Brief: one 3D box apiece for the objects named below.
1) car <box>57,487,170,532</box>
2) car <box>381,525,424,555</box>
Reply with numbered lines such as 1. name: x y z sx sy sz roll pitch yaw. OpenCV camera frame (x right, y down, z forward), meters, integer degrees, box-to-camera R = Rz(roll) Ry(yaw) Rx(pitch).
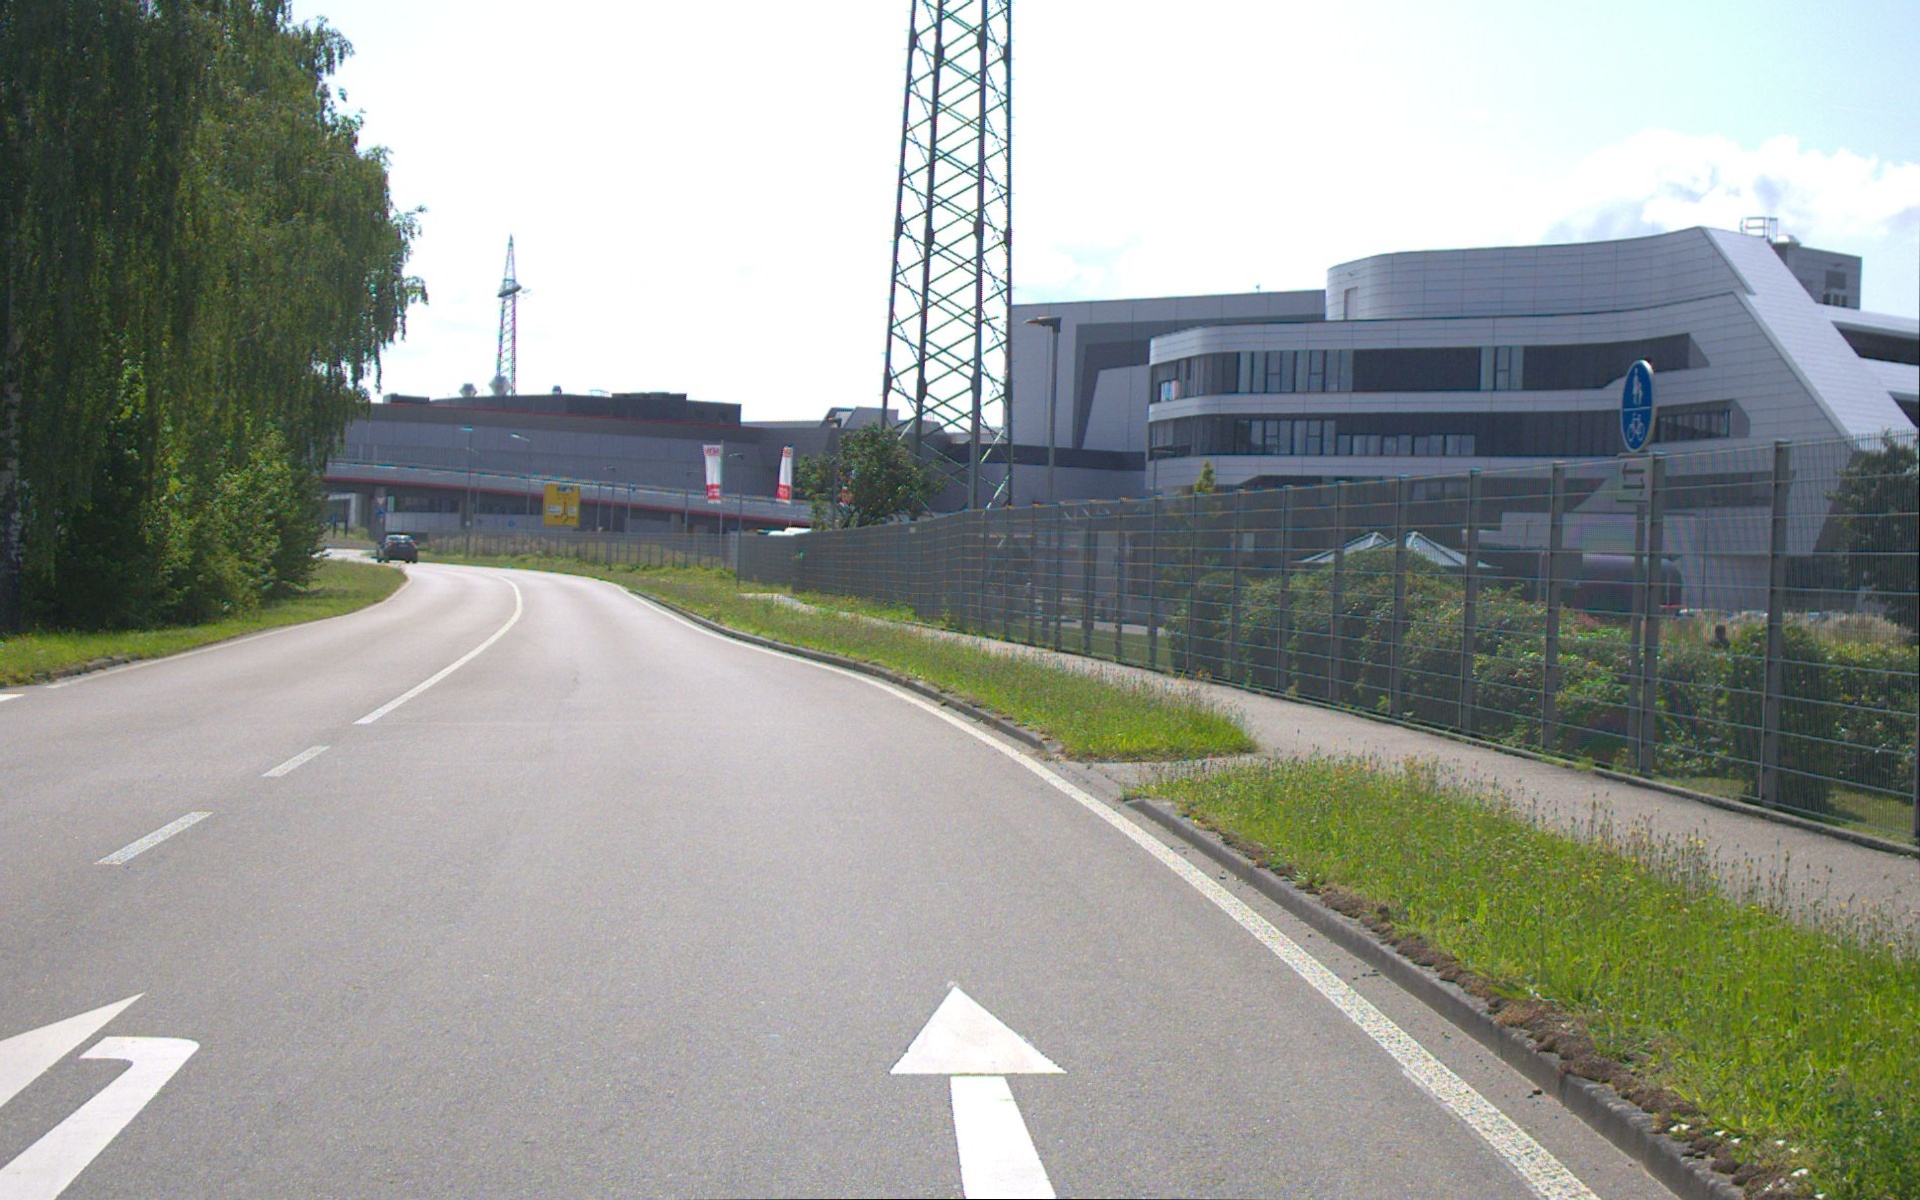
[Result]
1. car: -32.754 -3.502 133.111 3.986 1.568 2.001 3 1 -8
2. car: -30.827 -3.332 190.064 2.011 1.503 4.001 2 1 -13
